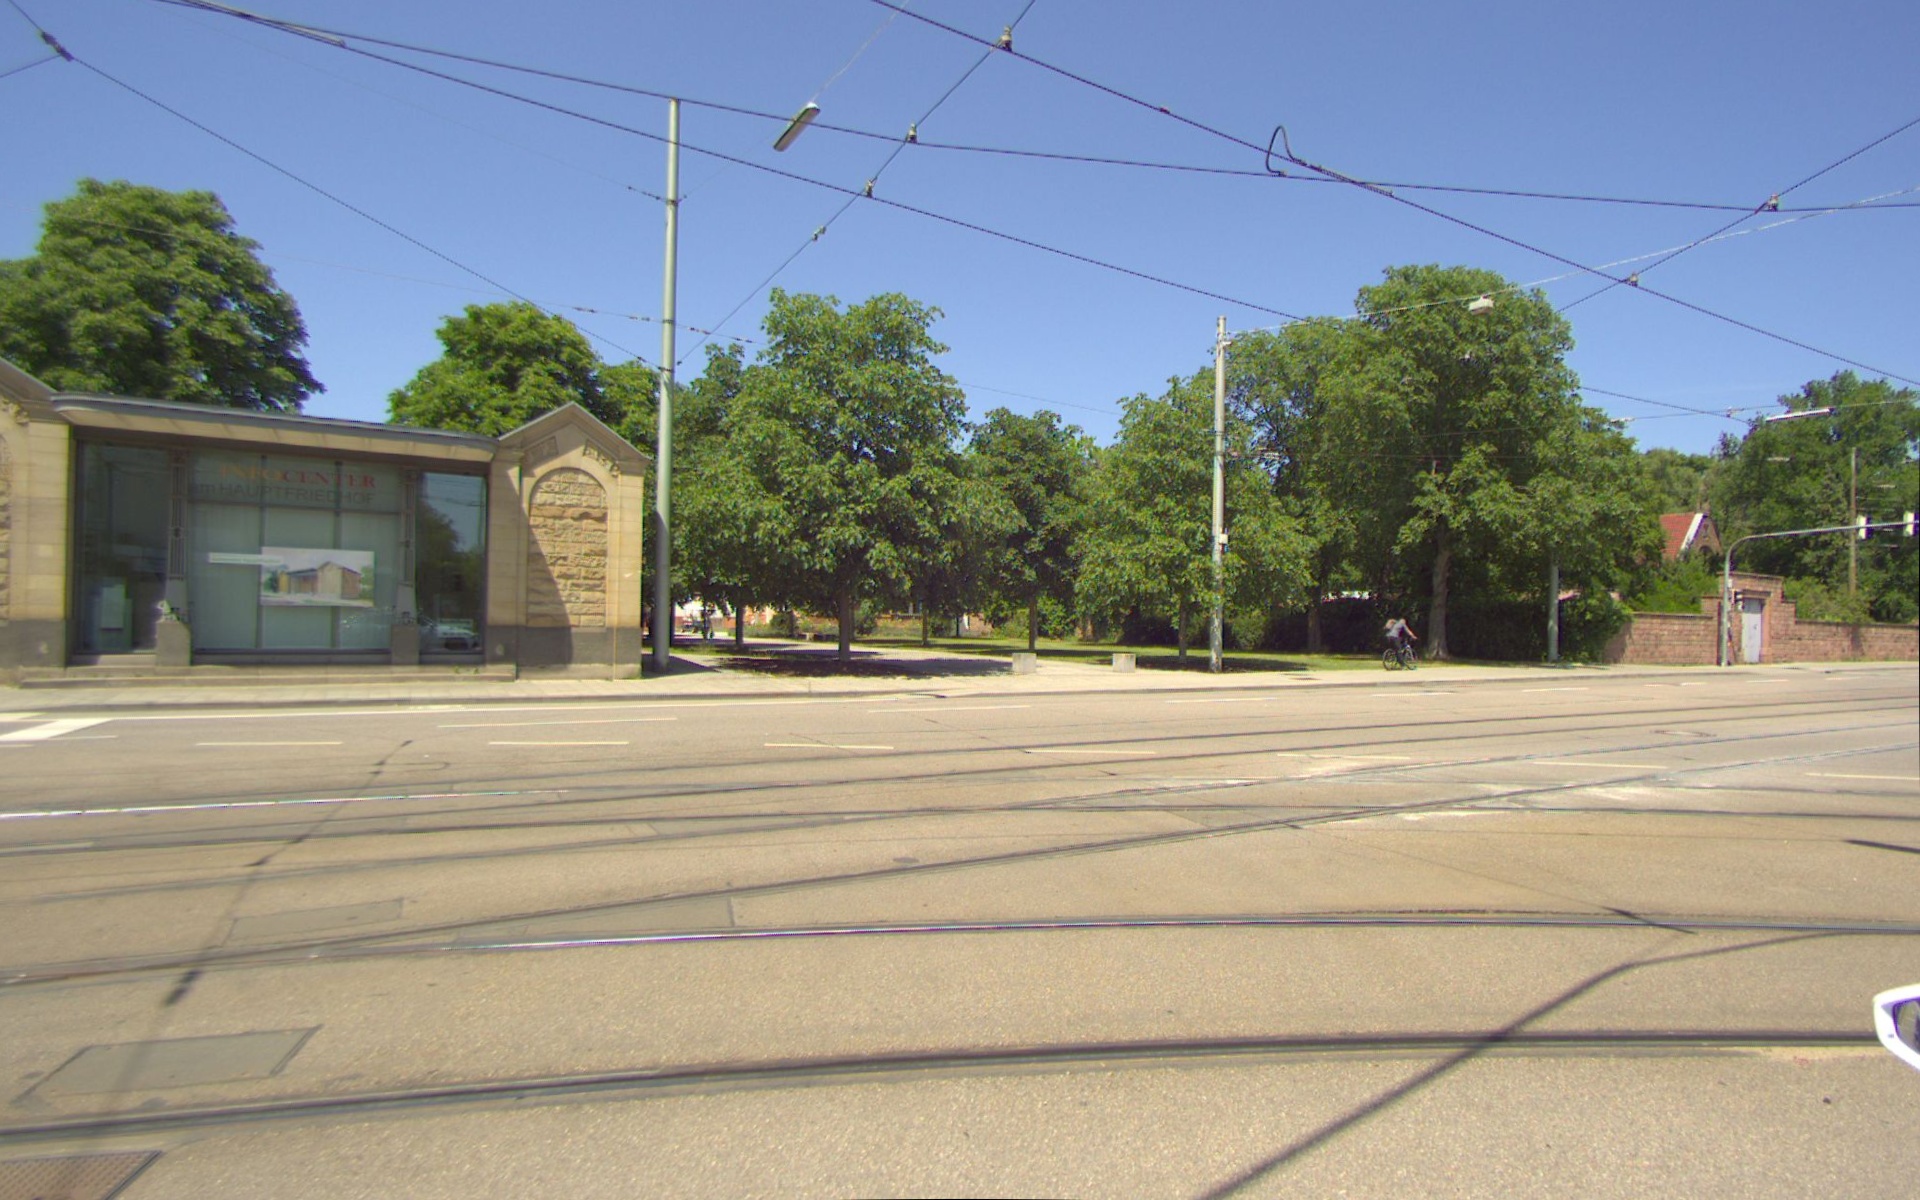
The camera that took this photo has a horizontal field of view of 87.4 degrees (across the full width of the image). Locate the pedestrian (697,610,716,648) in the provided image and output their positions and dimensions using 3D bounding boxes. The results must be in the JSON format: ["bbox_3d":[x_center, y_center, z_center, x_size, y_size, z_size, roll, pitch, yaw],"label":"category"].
[{"bbox_3d":[-11.511,1.317,45.675,0.704,1.669,0.524,1,0,-31],"label":"pedestrian"}]

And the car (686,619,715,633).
[{"bbox_3d":[-18.930,1.875,73.213,1.316,0.964,2.713,2,-1,-31],"label":"car"}]

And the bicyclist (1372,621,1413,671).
[{"bbox_3d":[13.577,1.433,31.550,0.835,1.551,0.846,1,-1,-30],"label":"bicyclist"}]

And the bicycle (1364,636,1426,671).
[{"bbox_3d":[13.704,1.678,31.630,2.079,1.055,0.711,2,-1,-30],"label":"bicycle"}]

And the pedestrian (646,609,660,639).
[{"bbox_3d":[-15.922,1.238,52.089,0.526,1.503,0.524,1,-1,-32],"label":"pedestrian"}]
